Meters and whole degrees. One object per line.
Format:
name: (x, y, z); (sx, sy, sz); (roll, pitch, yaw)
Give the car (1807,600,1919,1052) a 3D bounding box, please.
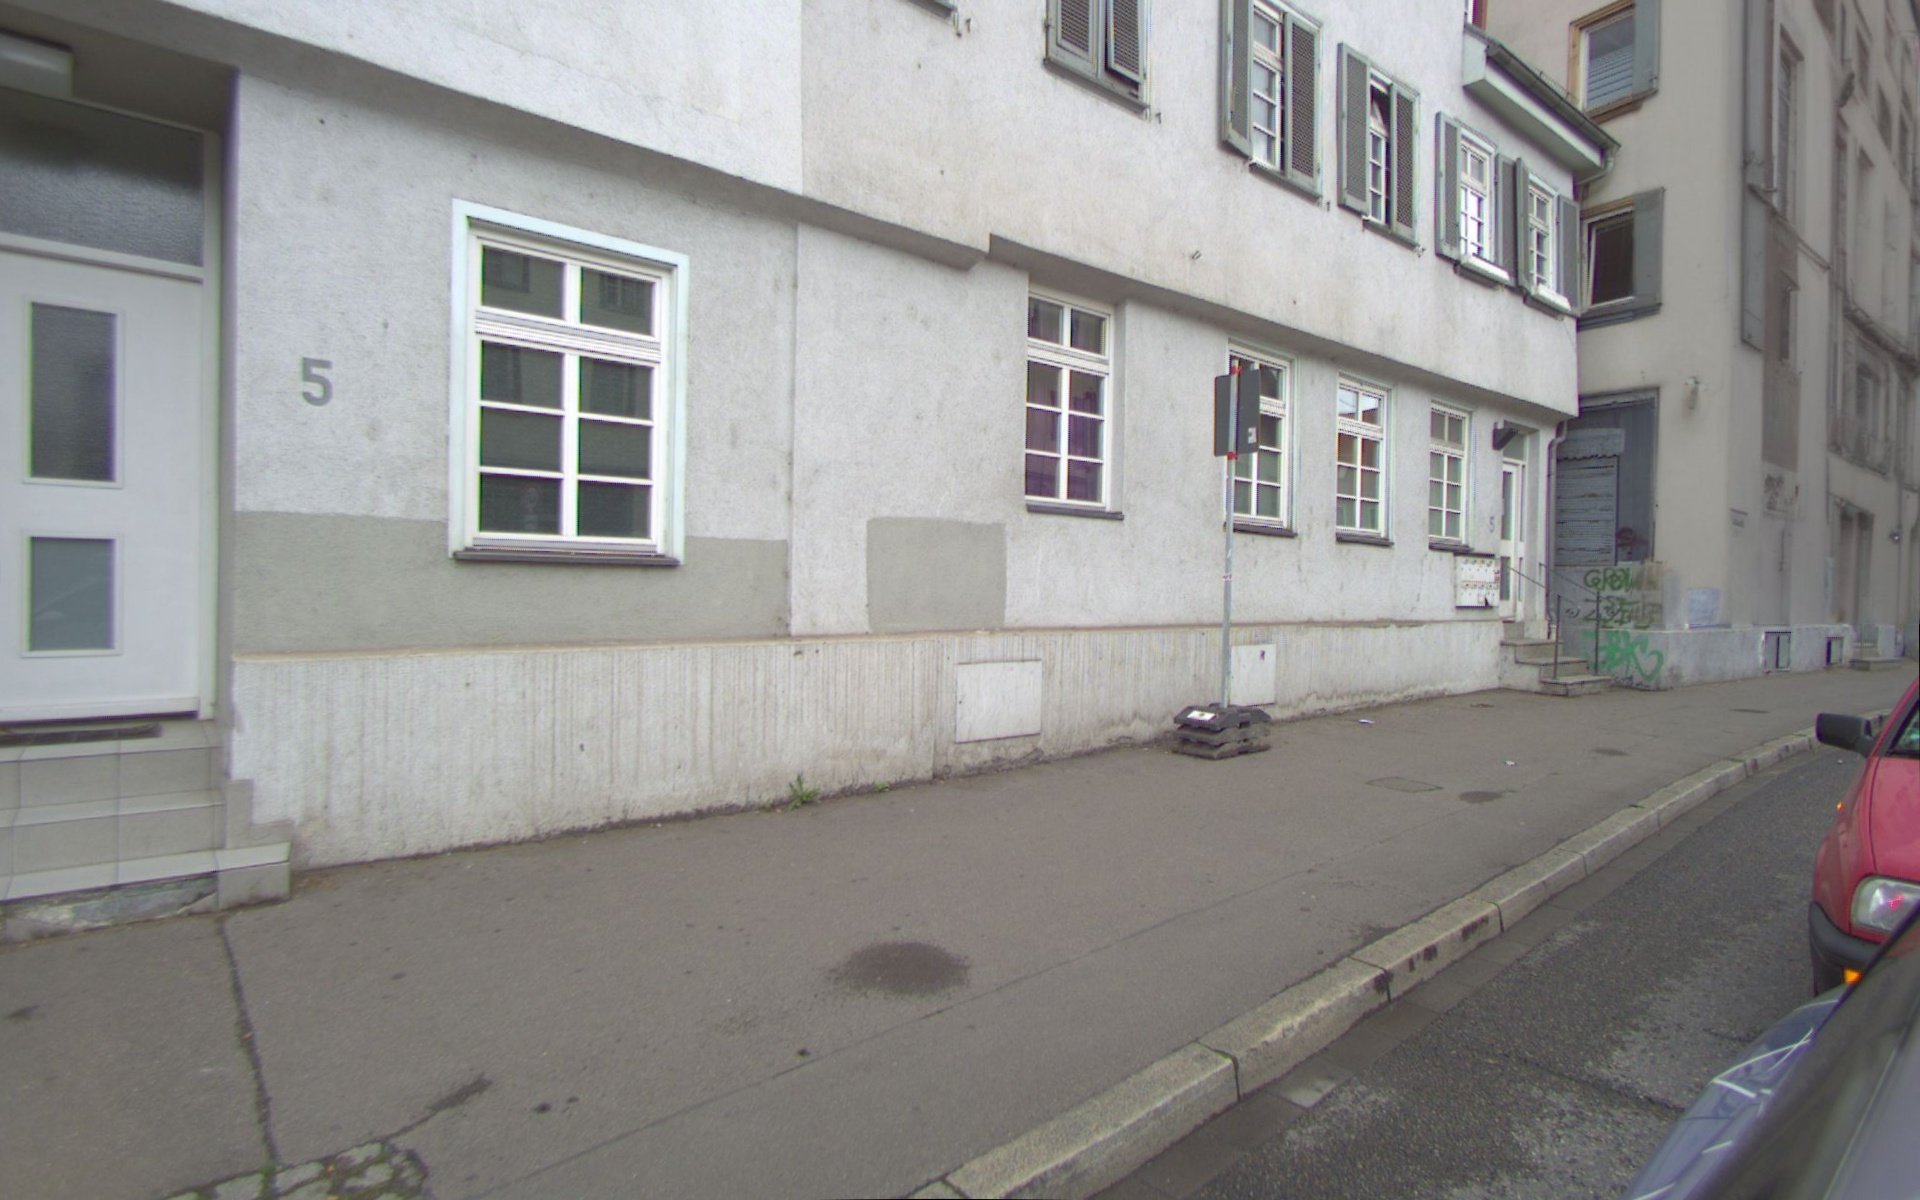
car: (5.051, 0.738, 4.137); (3.930, 1.485, 1.802); (0, -2, -41)
